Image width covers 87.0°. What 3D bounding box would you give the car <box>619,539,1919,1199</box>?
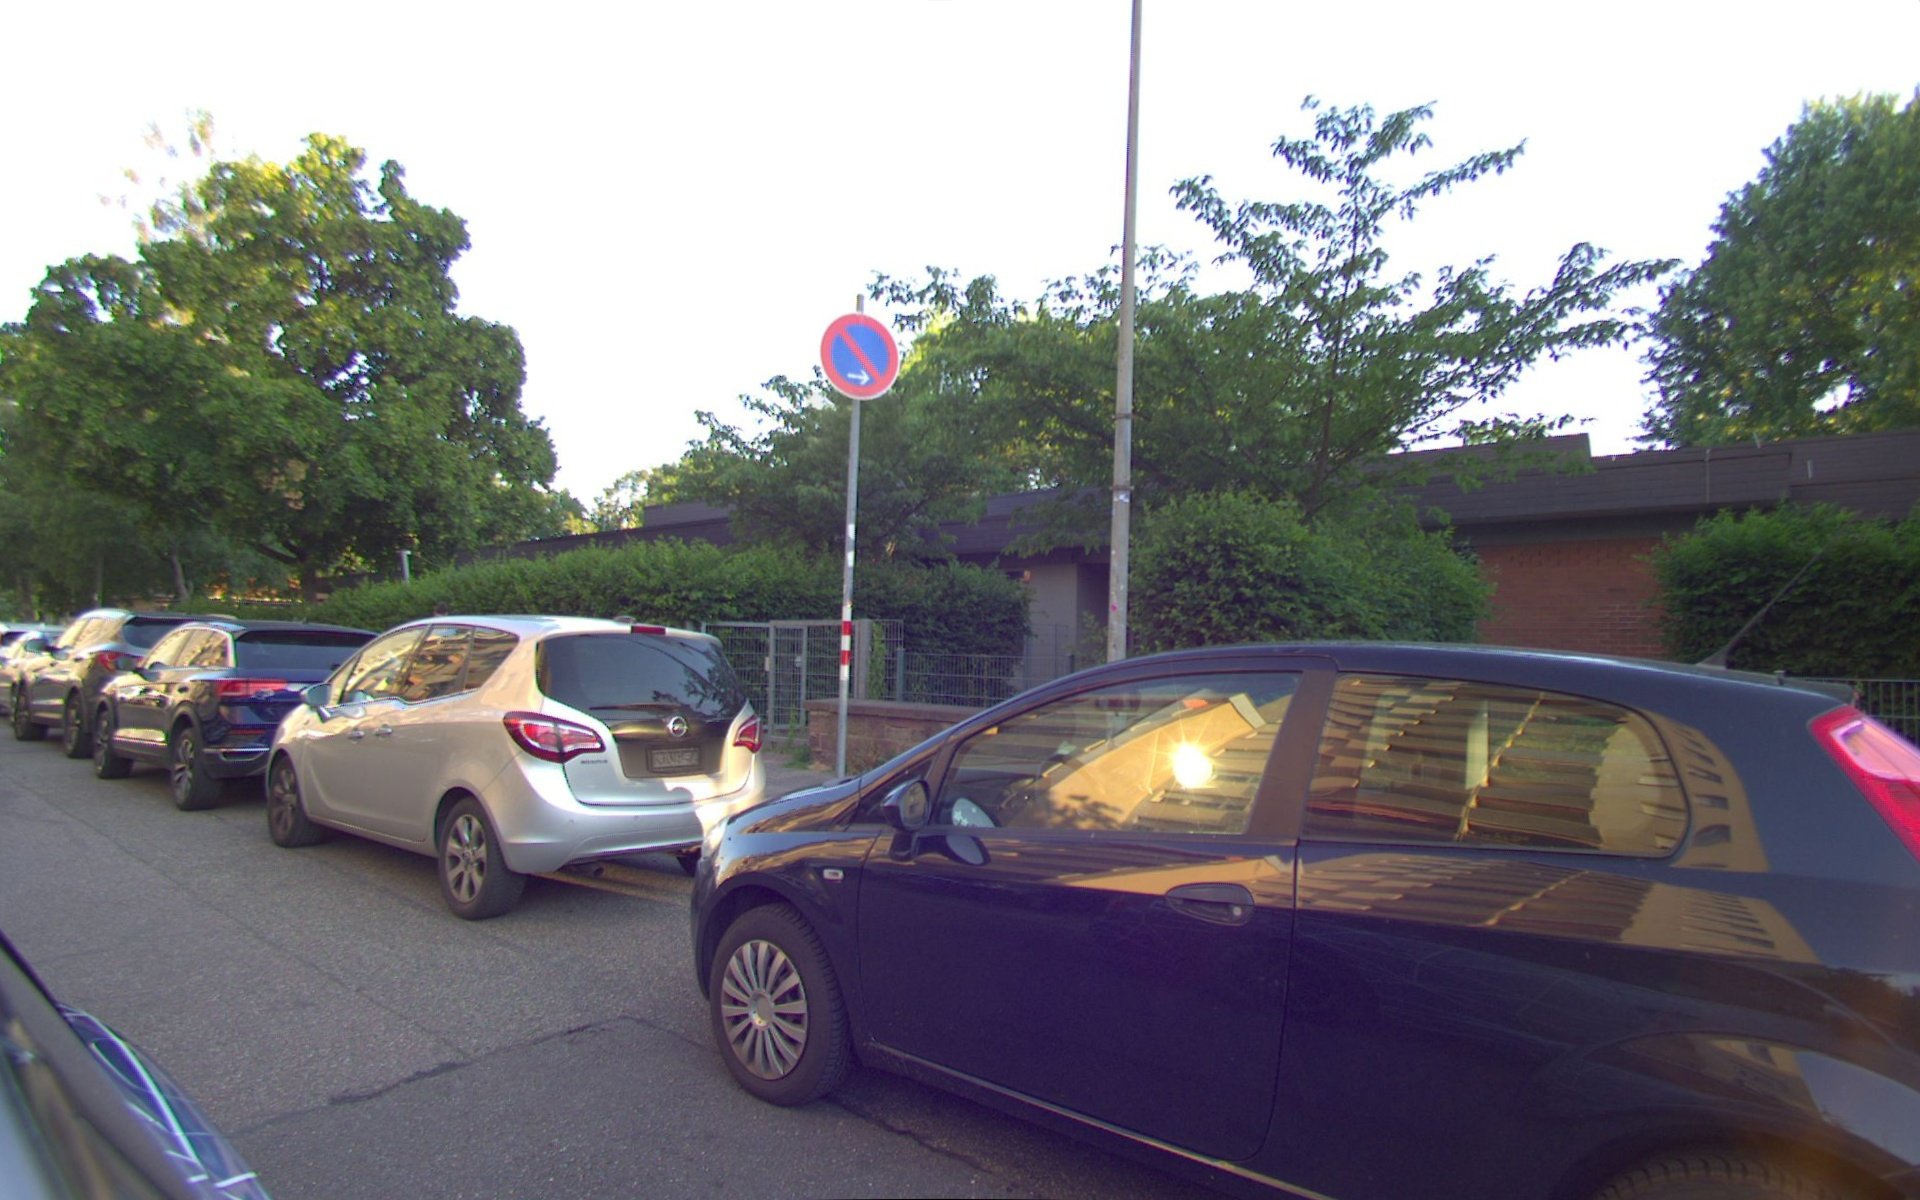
[{"bbox_3d":[0.869,0.782,2.948,3.691,1.579,1.717,-2,-5,37],"label":"car"}]

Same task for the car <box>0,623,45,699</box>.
[{"bbox_3d":[-22.392,1.362,23.060,3.978,1.644,1.715,-2,-5,41],"label":"car"}]

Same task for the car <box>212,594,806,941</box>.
[{"bbox_3d":[-3.083,0.861,6.586,4.123,1.579,1.717,-2,-5,37],"label":"car"}]

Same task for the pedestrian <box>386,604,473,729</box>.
[{"bbox_3d":[-7.801,0.948,14.891,0.749,1.745,0.890,-2,0,38],"label":"pedestrian"}]

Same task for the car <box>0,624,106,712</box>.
[{"bbox_3d":[-18.254,1.277,19.533,4.273,1.555,1.742,-2,-5,37],"label":"car"}]

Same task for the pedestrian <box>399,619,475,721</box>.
[{"bbox_3d":[-8.218,1.077,15.913,0.901,1.519,0.741,-2,0,38],"label":"pedestrian"}]

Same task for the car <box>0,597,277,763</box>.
[{"bbox_3d":[-10.398,0.936,12.656,4.316,1.743,1.717,-2,-5,37],"label":"car"}]

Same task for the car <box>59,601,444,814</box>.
[{"bbox_3d":[-6.746,0.897,9.492,4.160,1.579,1.717,-2,-5,37],"label":"car"}]

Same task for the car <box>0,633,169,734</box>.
[{"bbox_3d":[-14.586,1.286,16.383,4.280,1.438,1.717,-2,-5,37],"label":"car"}]
